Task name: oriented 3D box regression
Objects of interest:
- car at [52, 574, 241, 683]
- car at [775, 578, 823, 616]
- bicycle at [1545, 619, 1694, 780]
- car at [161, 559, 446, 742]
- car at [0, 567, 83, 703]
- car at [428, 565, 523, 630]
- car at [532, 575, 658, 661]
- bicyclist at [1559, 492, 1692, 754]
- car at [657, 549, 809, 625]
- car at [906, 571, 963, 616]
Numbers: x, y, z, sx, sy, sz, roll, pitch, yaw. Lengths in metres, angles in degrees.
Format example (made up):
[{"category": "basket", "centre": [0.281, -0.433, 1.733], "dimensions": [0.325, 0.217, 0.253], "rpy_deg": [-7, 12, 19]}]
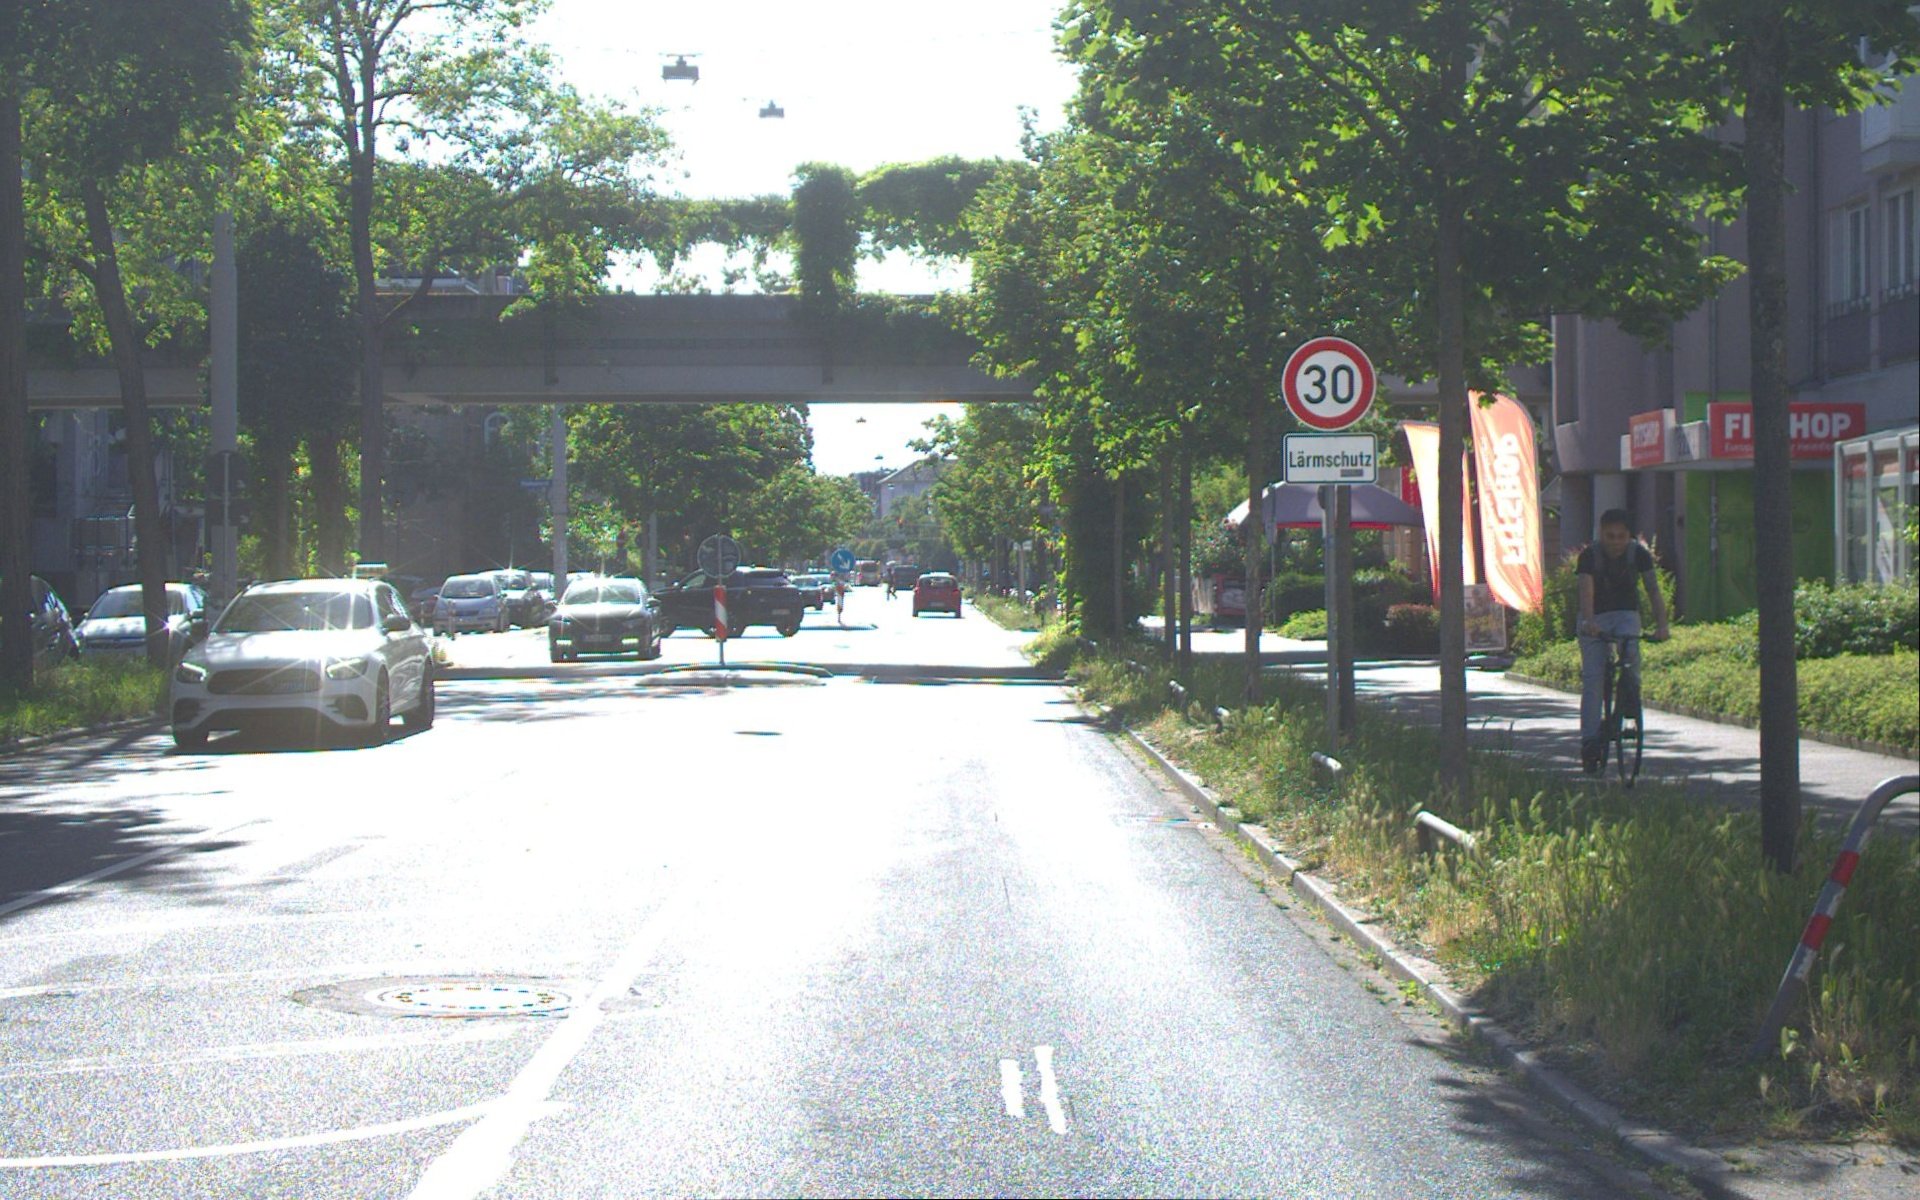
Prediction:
[{"category": "car", "centre": [-12.055, 0.388, 51.195], "dimensions": [1.855, 1.518, 4.319], "rpy_deg": [1, 0, -1]}, {"category": "car", "centre": [-6.705, -0.135, 143.562], "dimensions": [1.855, 1.518, 4.319], "rpy_deg": [1, 0, -1]}, {"category": "bicycle", "centre": [4.359, 0.637, 22.820], "dimensions": [0.589, 1.024, 1.860], "rpy_deg": [0, 0, -1]}, {"category": "car", "centre": [-6.111, 0.428, 32.511], "dimensions": [1.855, 1.563, 4.715], "rpy_deg": [-1, 0, -1]}, {"category": "car", "centre": [-12.028, 0.384, 41.537], "dimensions": [1.856, 1.563, 3.871], "rpy_deg": [1, 0, 0]}, {"category": "car", "centre": [-11.957, -0.074, 85.014], "dimensions": [1.855, 1.518, 4.077], "rpy_deg": [1, 0, -1]}, {"category": "car", "centre": [-6.491, 0.290, 61.522], "dimensions": [1.855, 1.435, 4.319], "rpy_deg": [-2, 0, -1]}, {"category": "bicyclist", "centre": [4.397, 0.153, 22.760], "dimensions": [0.667, 1.689, 0.889], "rpy_deg": [1, 0, -1]}, {"category": "car", "centre": [-5.020, -0.297, 75.596], "dimensions": [1.984, 1.595, 4.141], "rpy_deg": [0, 1, -24]}, {"category": "car", "centre": [-0.878, -0.240, 119.948], "dimensions": [1.856, 1.518, 4.318], "rpy_deg": [1, 0, 1]}]
